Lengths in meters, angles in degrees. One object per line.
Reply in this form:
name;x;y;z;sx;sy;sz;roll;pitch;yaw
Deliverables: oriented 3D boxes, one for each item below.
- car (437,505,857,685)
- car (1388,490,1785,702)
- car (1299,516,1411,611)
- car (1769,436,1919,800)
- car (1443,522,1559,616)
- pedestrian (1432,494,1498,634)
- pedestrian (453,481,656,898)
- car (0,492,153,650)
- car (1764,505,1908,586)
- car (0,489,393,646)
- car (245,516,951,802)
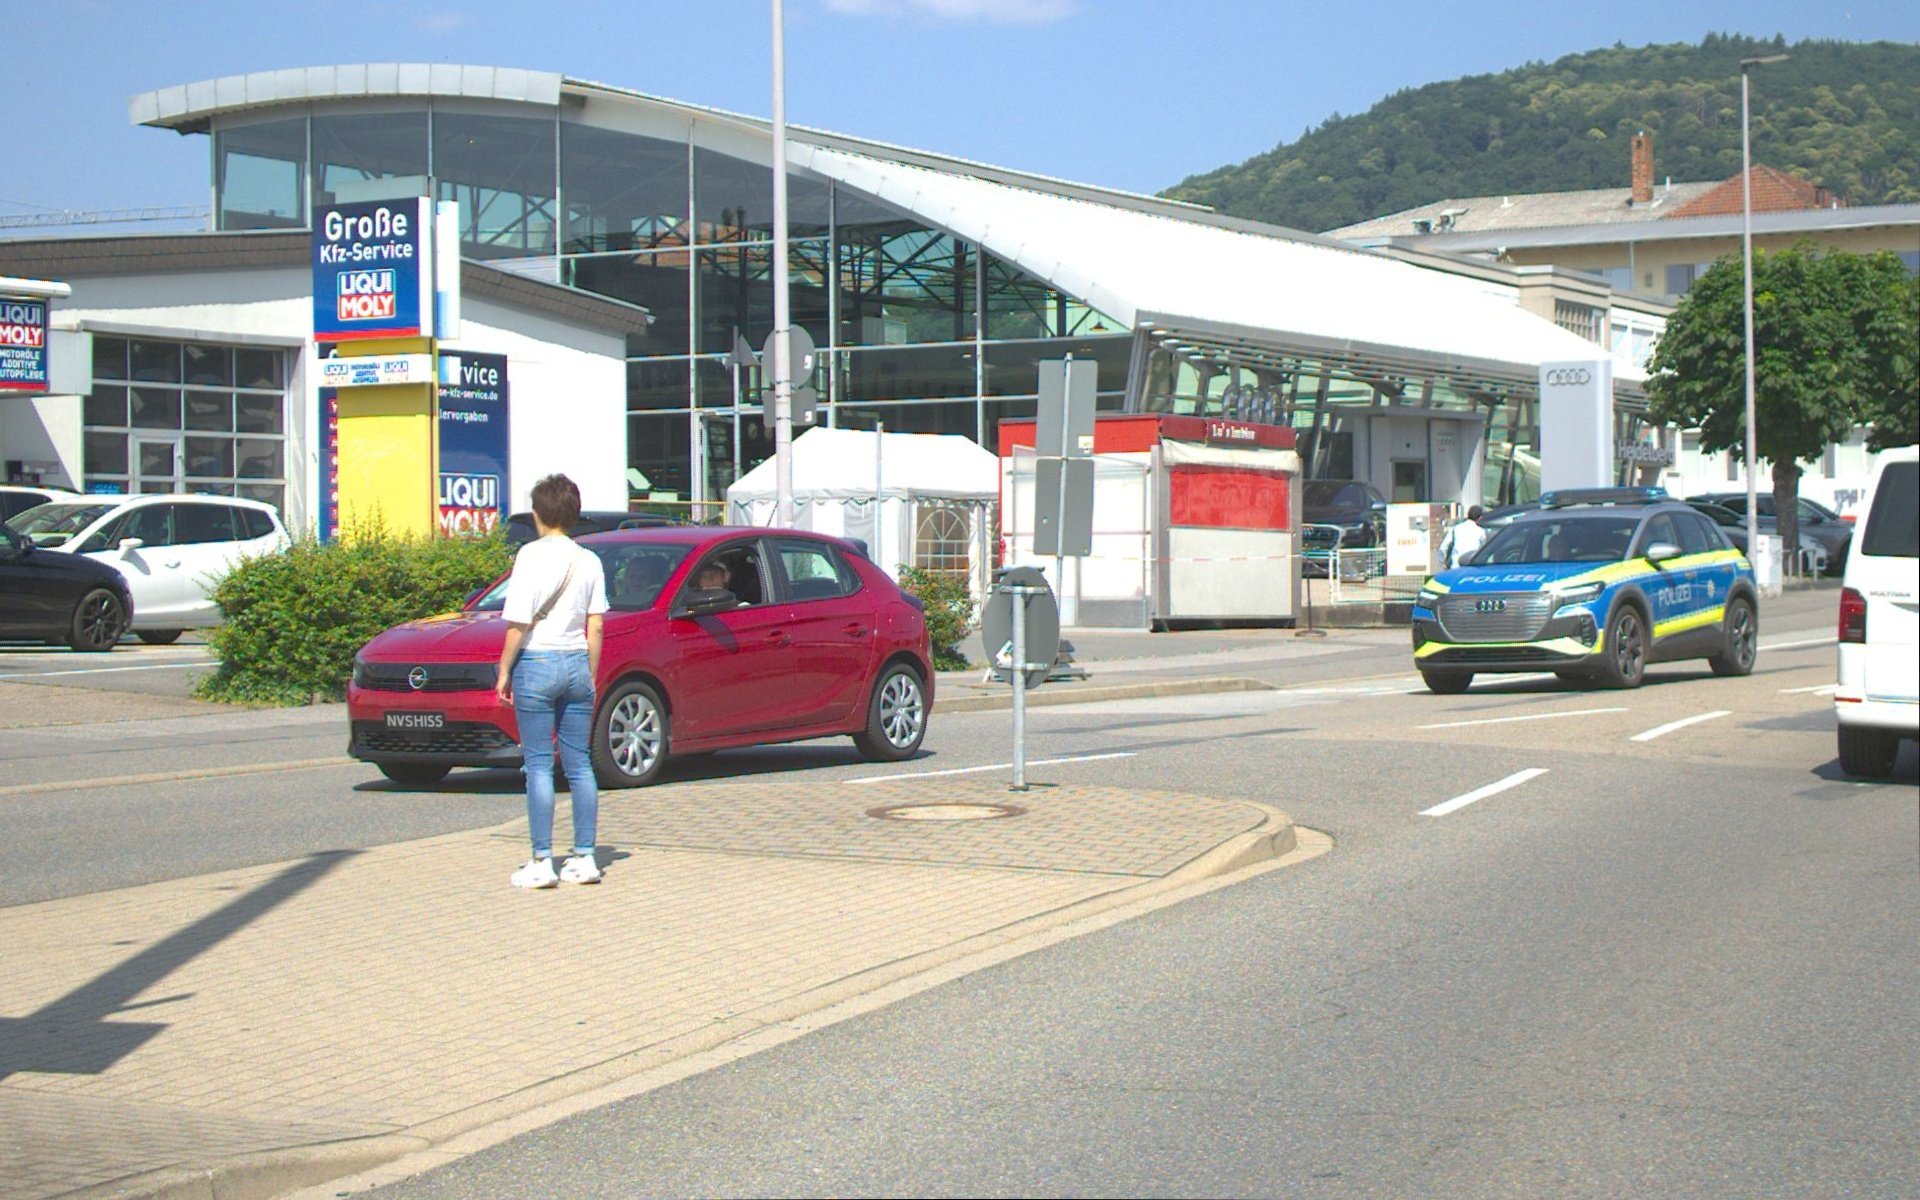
car;-2.949;-0.087;33.198;1.997;1.612;3.993;0;1;33
car;5.678;-0.089;30.731;1.912;1.754;4.443;0;1;33
car;6.846;-0.640;59.309;1.746;1.579;3.660;0;1;9
car;6.624;0.057;21.175;2.165;2.006;5.011;2;2;25
car;9.362;-0.555;59.741;1.745;1.579;3.661;0;1;5
pedestrian;6.494;-0.467;44.153;0.760;1.782;0.784;0;1;14
pedestrian;-1.659;0.348;14.016;0.759;1.651;0.673;0;1;-12
car;-9.620;-0.252;31.362;2.029;1.422;4.311;0;1;28
car;17.663;-1.110;69.461;1.745;1.579;3.662;-1;1;-4
car;-8.561;-0.366;37.931;1.883;1.583;4.920;-2;0;29
car;-1.954;0.267;19.780;1.844;1.459;4.136;-1;1;33
